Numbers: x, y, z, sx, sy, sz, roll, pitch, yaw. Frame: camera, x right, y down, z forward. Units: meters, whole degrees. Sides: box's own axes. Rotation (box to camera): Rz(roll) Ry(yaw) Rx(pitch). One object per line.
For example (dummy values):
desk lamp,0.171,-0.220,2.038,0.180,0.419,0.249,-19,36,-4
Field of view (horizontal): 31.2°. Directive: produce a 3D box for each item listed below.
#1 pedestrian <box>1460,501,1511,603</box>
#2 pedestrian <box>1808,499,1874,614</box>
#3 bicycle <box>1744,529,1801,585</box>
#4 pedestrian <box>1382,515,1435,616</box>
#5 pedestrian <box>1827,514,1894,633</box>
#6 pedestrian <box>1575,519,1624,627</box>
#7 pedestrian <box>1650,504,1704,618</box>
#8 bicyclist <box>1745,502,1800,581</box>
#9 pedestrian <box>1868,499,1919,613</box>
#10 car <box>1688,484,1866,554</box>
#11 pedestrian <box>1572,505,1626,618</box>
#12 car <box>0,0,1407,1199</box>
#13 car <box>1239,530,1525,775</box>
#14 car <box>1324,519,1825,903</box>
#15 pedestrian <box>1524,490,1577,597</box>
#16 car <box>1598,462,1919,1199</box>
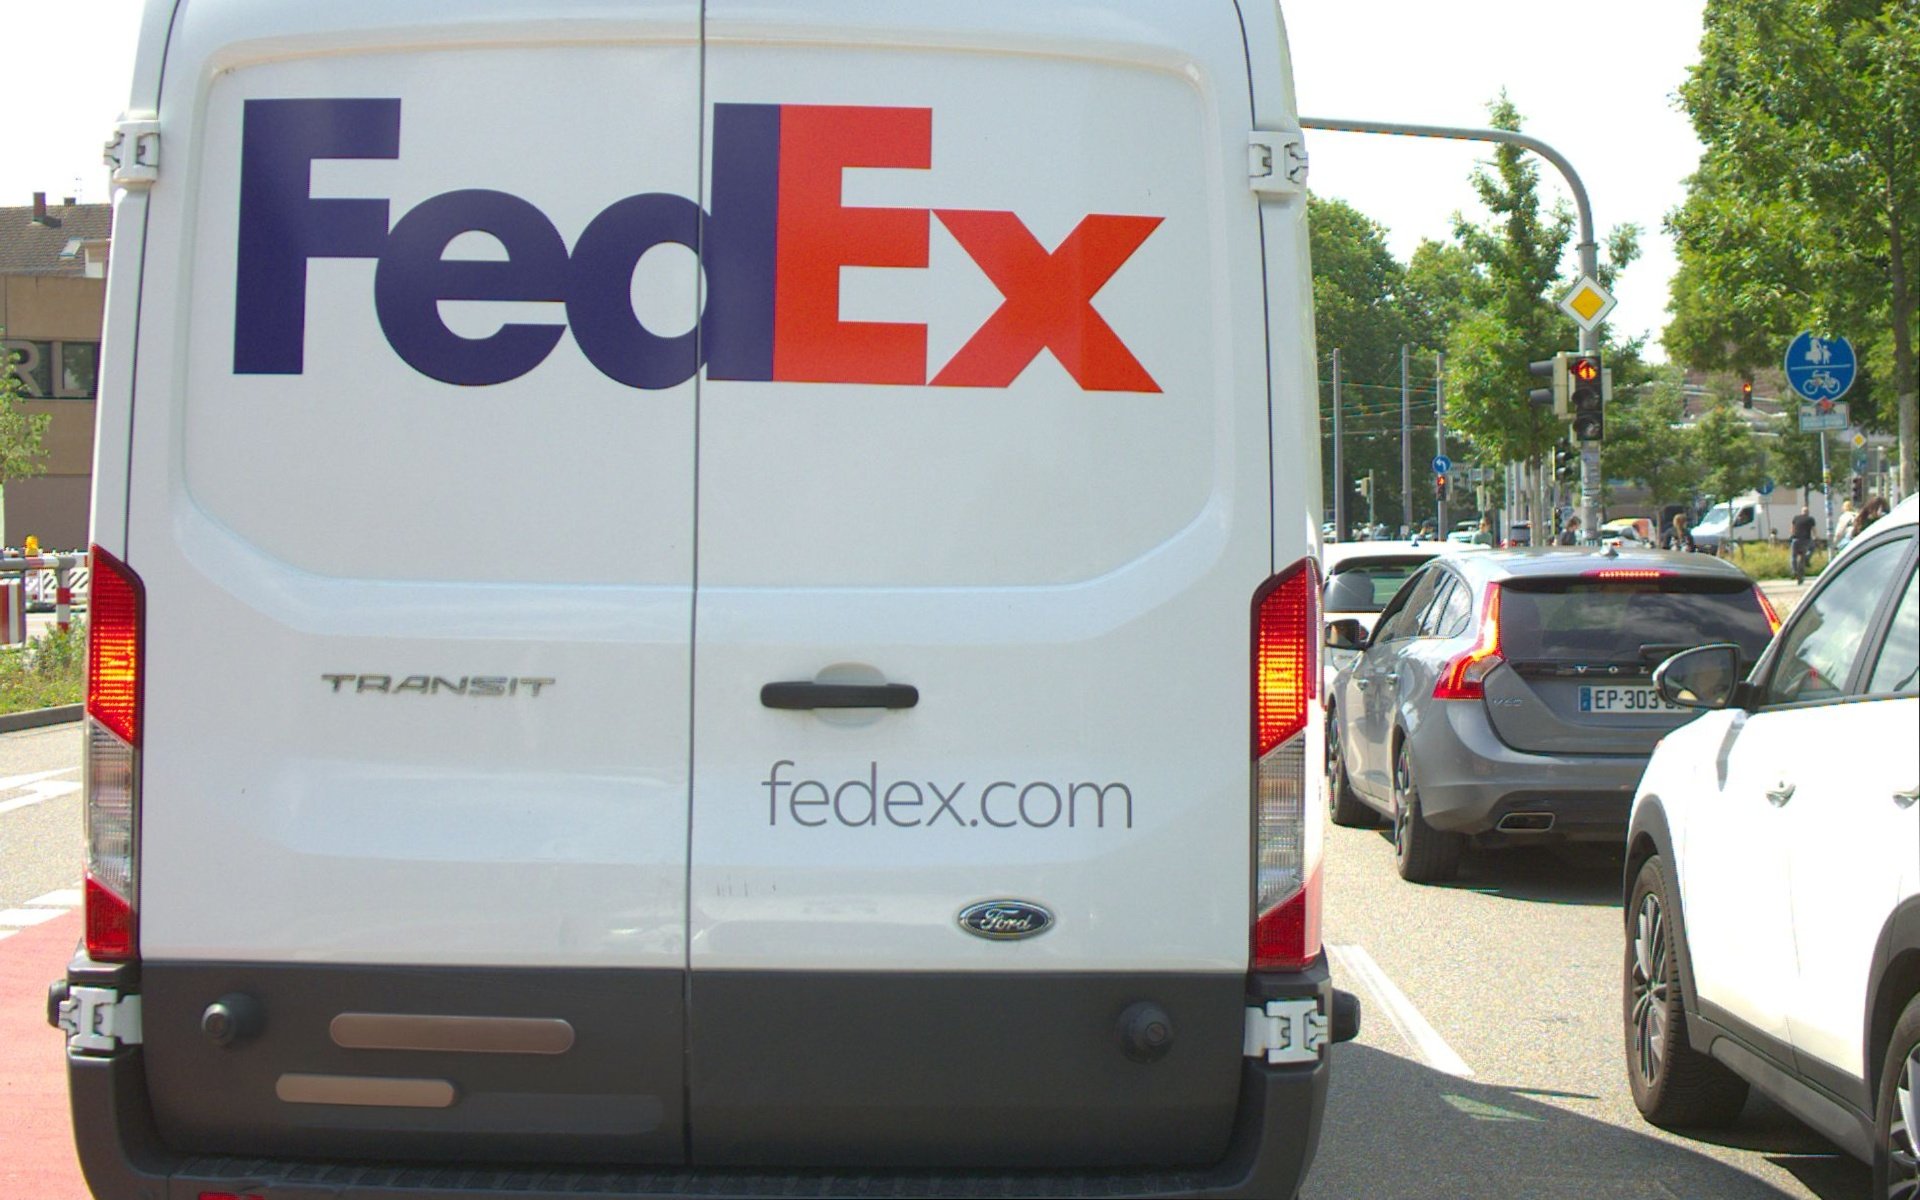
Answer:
pedestrian,9.621,-0.885,62.908,0.758,1.843,0.816,-1,1,-3
pedestrian,14.280,-0.712,55.757,0.758,1.843,0.816,-1,1,-10
bicycle,22.560,-1.208,95.395,1.426,1.459,4.308,0,2,15
pedestrian,8.311,-0.648,63.711,0.758,1.843,0.816,-1,1,-9
pedestrian,12.711,-0.380,48.566,0.759,1.649,0.816,-1,1,3
pedestrian,10.992,-0.466,59.054,0.759,1.843,0.816,0,1,15
pedestrian,11.659,-0.634,55.908,0.759,1.843,0.815,0,1,18
bicyclist,22.546,-1.617,95.406,1.433,2.164,1.338,0,1,15
pedestrian,15.332,-0.727,56.021,0.758,1.843,0.816,-1,1,-8
car,33.462,-3.276,140.779,7.060,2.708,2.496,1,1,-26
pedestrian,10.536,-0.645,56.694,0.759,1.843,0.815,0,1,18
car,-0.355,0.070,7.222,2.072,2.572,4.428,0,1,1
car,2.706,0.283,22.611,1.499,1.459,3.474,0,1,1
car,2.695,0.409,15.842,1.691,1.543,3.720,0,1,1
pedestrian,10.293,-0.982,59.966,0.813,1.843,0.761,-1,1,3
car,2.587,0.558,7.203,1.814,1.673,3.974,0,1,1
